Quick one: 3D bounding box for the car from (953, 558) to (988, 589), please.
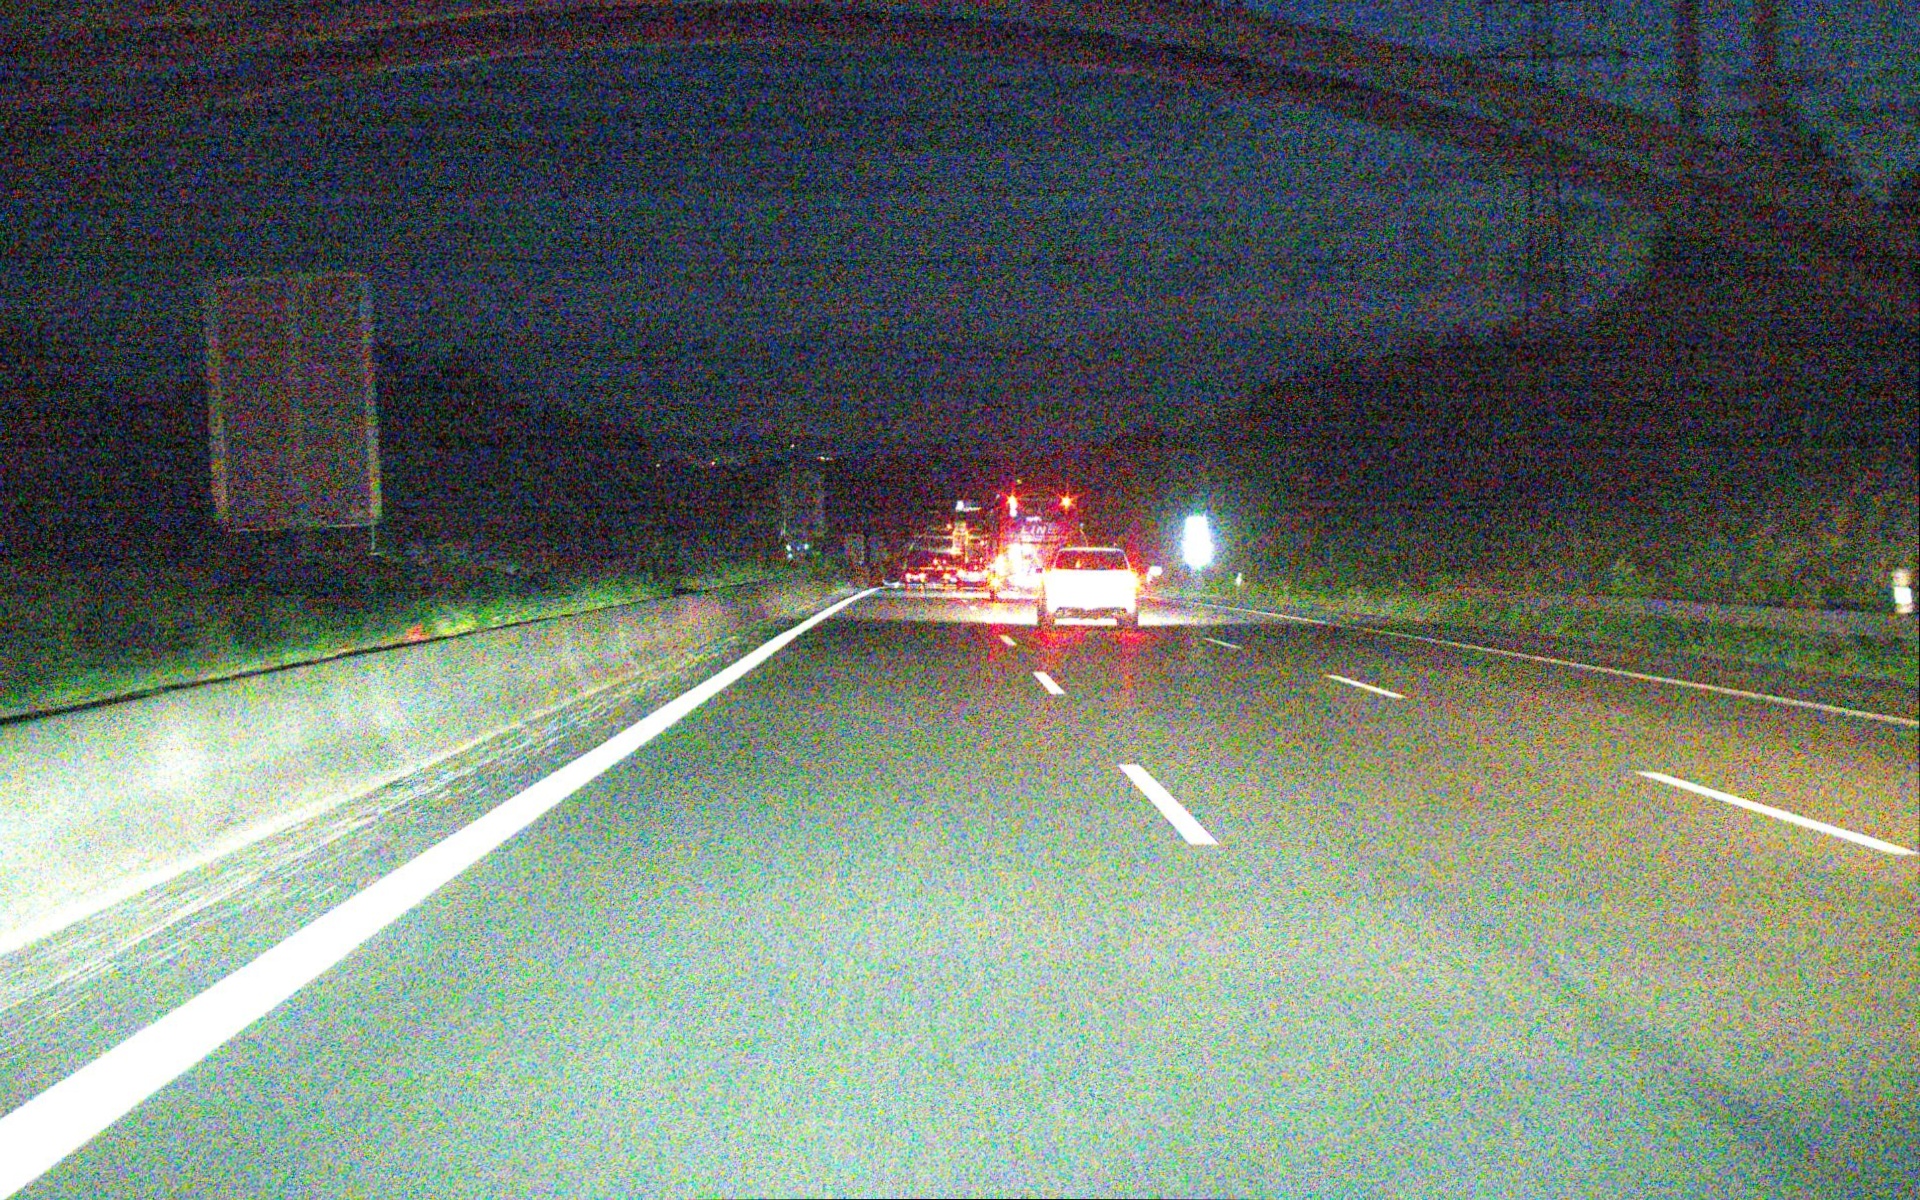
[{"bbox_3d":[0.555,-1.411,182.520,1.821,1.461,4.248,1,2,0],"label":"car"}]

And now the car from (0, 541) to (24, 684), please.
[{"bbox_3d":[-12.769,0.210,41.429,1.688,1.749,5.058,1,2,-1],"label":"car"}]

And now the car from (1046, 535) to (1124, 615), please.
[{"bbox_3d":[2.390,-0.498,66.221,1.346,1.382,3.502,1,2,0],"label":"car"}]

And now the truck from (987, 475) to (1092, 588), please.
[{"bbox_3d":[2.468,-2.262,109.603,3.044,3.313,10.143,1,2,0],"label":"truck"}]
